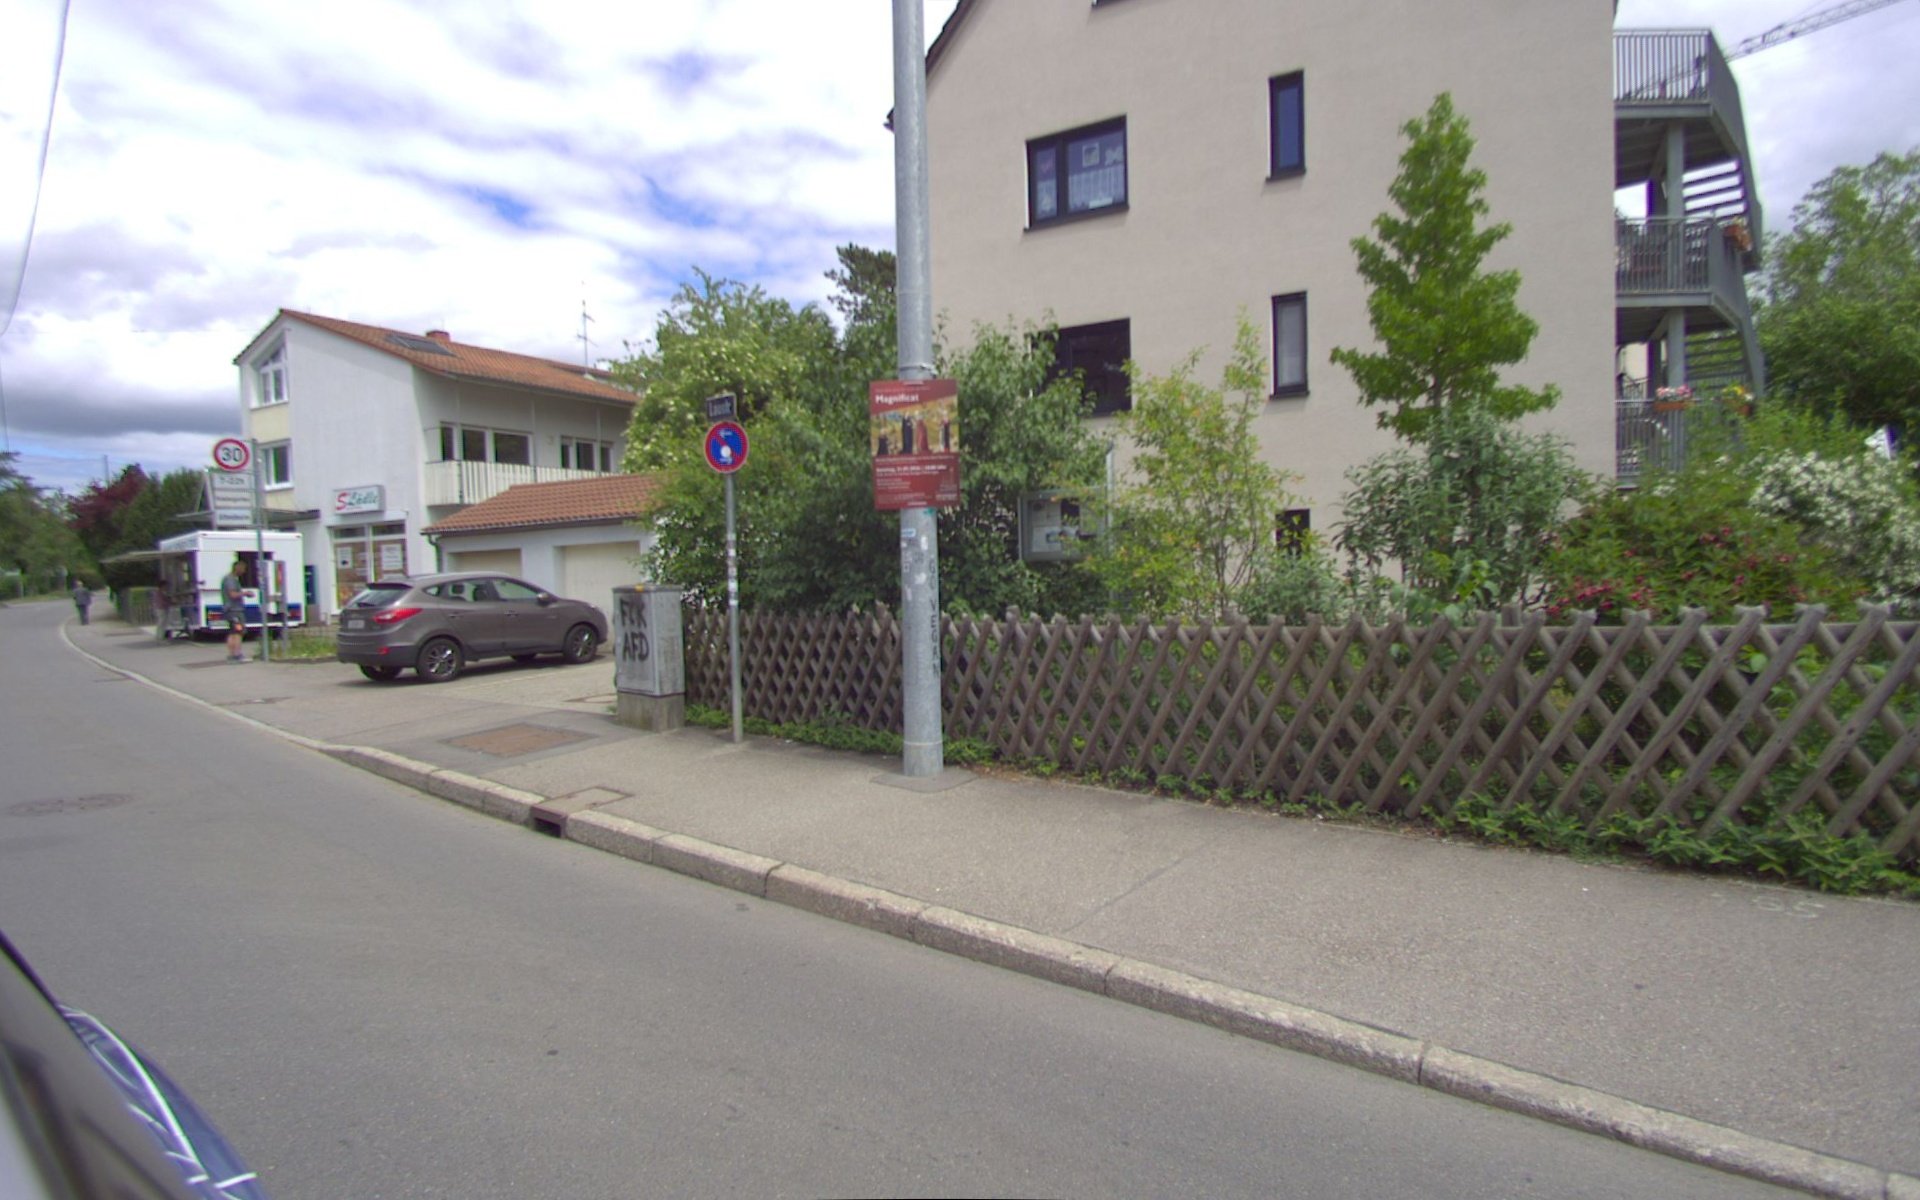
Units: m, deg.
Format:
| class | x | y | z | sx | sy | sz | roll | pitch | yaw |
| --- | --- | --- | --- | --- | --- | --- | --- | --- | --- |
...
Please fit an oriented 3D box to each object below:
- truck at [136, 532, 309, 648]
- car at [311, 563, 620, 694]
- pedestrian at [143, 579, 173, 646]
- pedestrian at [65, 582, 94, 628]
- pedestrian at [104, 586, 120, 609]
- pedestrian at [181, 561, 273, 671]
| class | x | y | z | sx | sy | sz | roll | pitch | yaw |
| --- | --- | --- | --- | --- | --- | --- | --- | --- | --- |
| truck | -20.554 | -0.318 | 28.041 | 6.706 | 2.861 | 2.447 | 0 | 3 | 42 |
| car | -8.063 | 0.354 | 16.937 | 1.792 | 1.708 | 4.280 | -1 | 4 | 32 |
| pedestrian | -21.095 | 0.318 | 26.611 | 0.597 | 1.707 | 0.397 | 0 | 4 | 42 |
| pedestrian | -35.415 | 0.201 | 40.713 | 0.714 | 1.698 | 1.111 | -6 | 8 | -43 |
| pedestrian | -66.775 | -0.225 | 79.719 | 0.809 | 1.757 | 0.606 | -5 | 4 | -37 |
| pedestrian | -13.954 | 0.276 | 19.281 | 1.199 | 1.960 | 0.736 | -6 | 5 | -43 |
